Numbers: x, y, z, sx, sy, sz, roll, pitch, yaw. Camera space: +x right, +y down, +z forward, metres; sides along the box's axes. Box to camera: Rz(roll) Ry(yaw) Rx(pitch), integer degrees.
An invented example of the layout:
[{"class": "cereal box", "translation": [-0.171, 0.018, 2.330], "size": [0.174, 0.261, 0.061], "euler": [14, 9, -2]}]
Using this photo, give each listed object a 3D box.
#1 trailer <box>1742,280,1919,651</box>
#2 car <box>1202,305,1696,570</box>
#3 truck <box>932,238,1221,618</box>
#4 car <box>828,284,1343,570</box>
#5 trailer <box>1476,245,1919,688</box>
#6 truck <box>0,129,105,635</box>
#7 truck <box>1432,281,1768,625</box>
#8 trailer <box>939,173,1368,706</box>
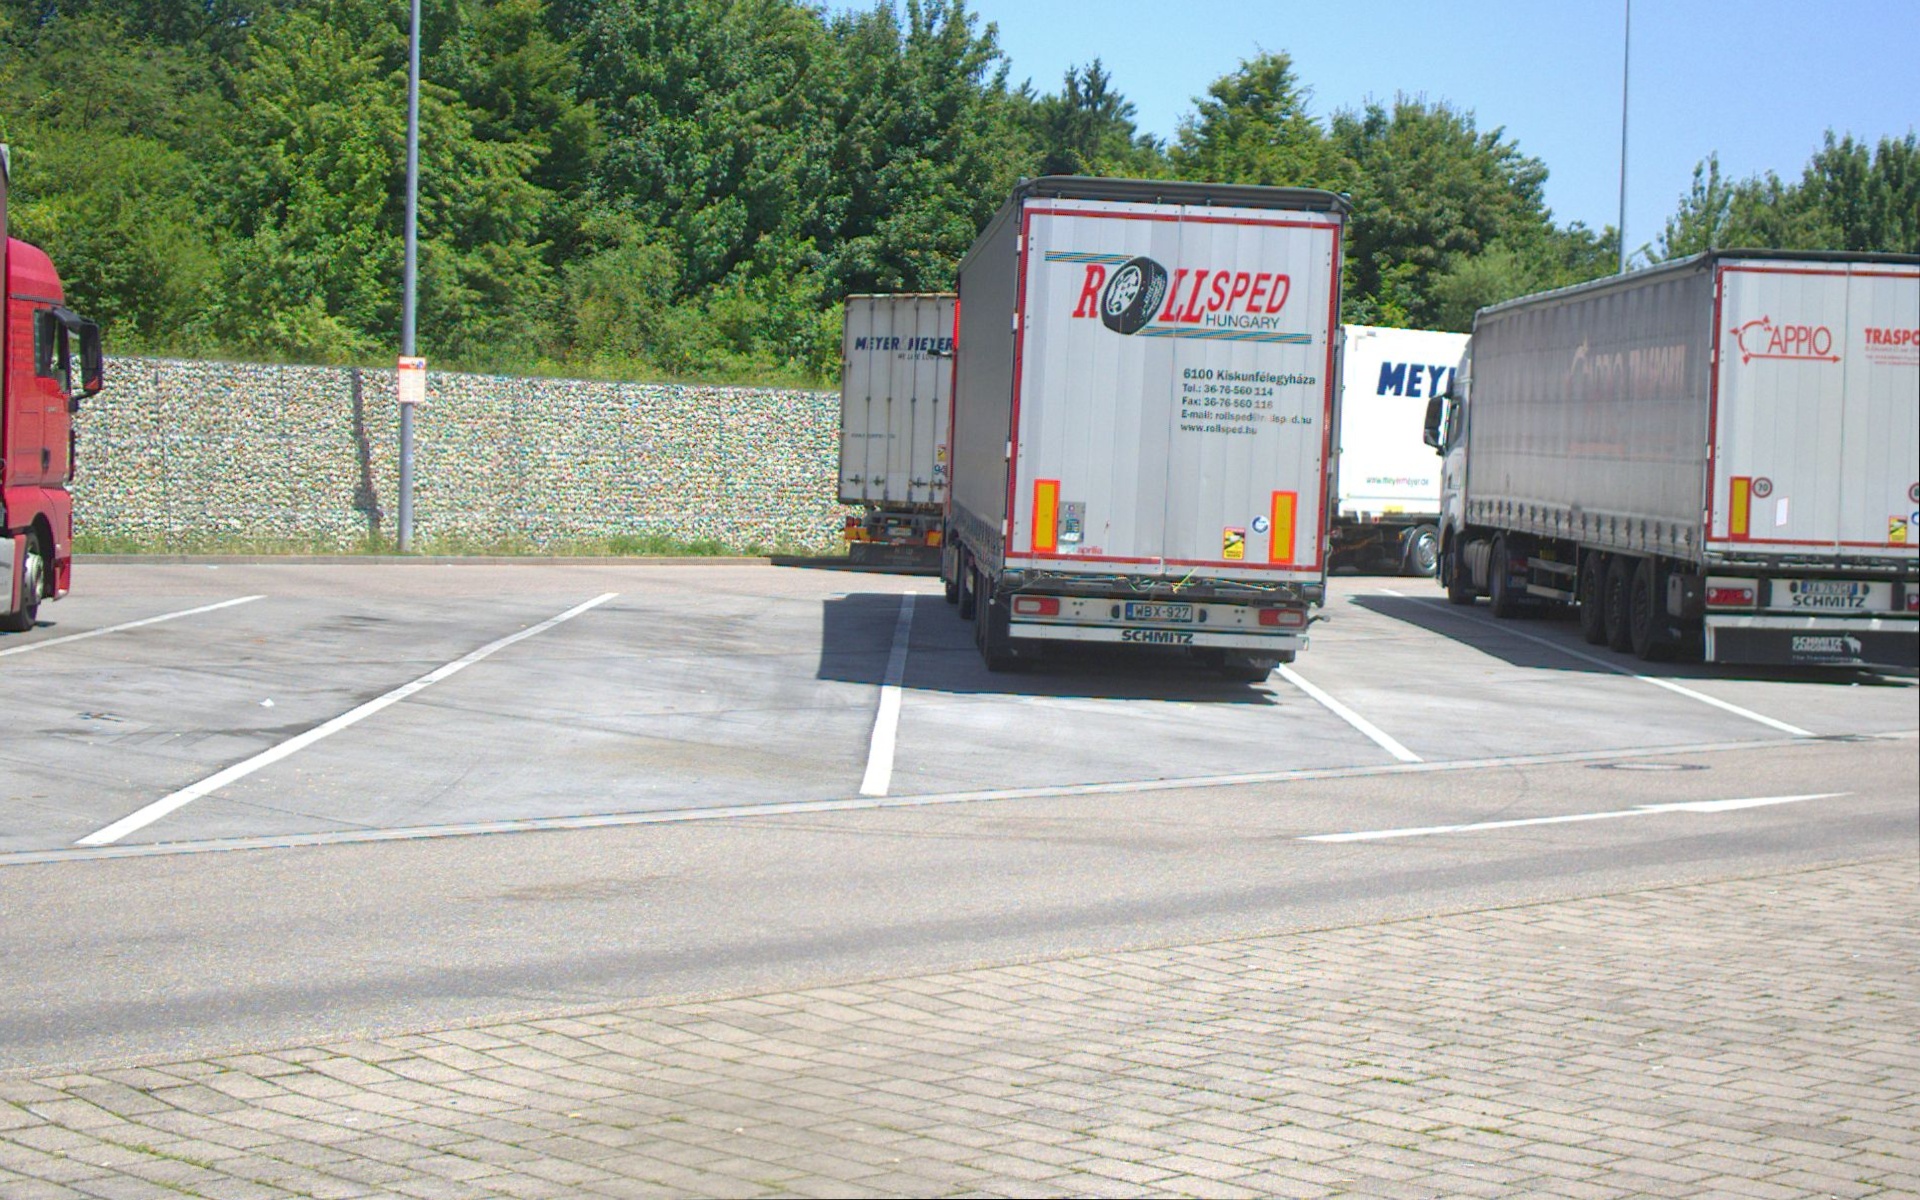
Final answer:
[{"class": "trailer", "translation": [11.841, -1.522, 39.027], "size": [2.866, 4.023, 12.439], "euler": [2, 3, 0]}, {"class": "car", "translation": [8.627, -2.710, 59.364], "size": [2.687, 4.174, 10.190], "euler": [6, 5, 44]}, {"class": "truck", "translation": [1.229, -2.050, 40.705], "size": [2.866, 4.023, 7.028], "euler": [2, 3, -2]}, {"class": "car", "translation": [2.070, -2.570, 52.777], "size": [8.445, 4.030, 2.687], "euler": [-1, 5, -45]}, {"class": "trailer", "translation": [8.186, -1.562, 37.963], "size": [2.866, 4.023, 12.439], "euler": [2, 3, 0]}, {"class": "truck", "translation": [-9.146, -1.808, 27.987], "size": [2.696, 4.099, 6.240], "euler": [2, 3, 0]}, {"class": "truck", "translation": [8.127, -1.945, 44.590], "size": [2.866, 4.023, 6.957], "euler": [2, 3, 0]}, {"class": "trailer", "translation": [1.441, -1.631, 33.626], "size": [2.866, 4.023, 14.243], "euler": [2, 3, -2]}]
